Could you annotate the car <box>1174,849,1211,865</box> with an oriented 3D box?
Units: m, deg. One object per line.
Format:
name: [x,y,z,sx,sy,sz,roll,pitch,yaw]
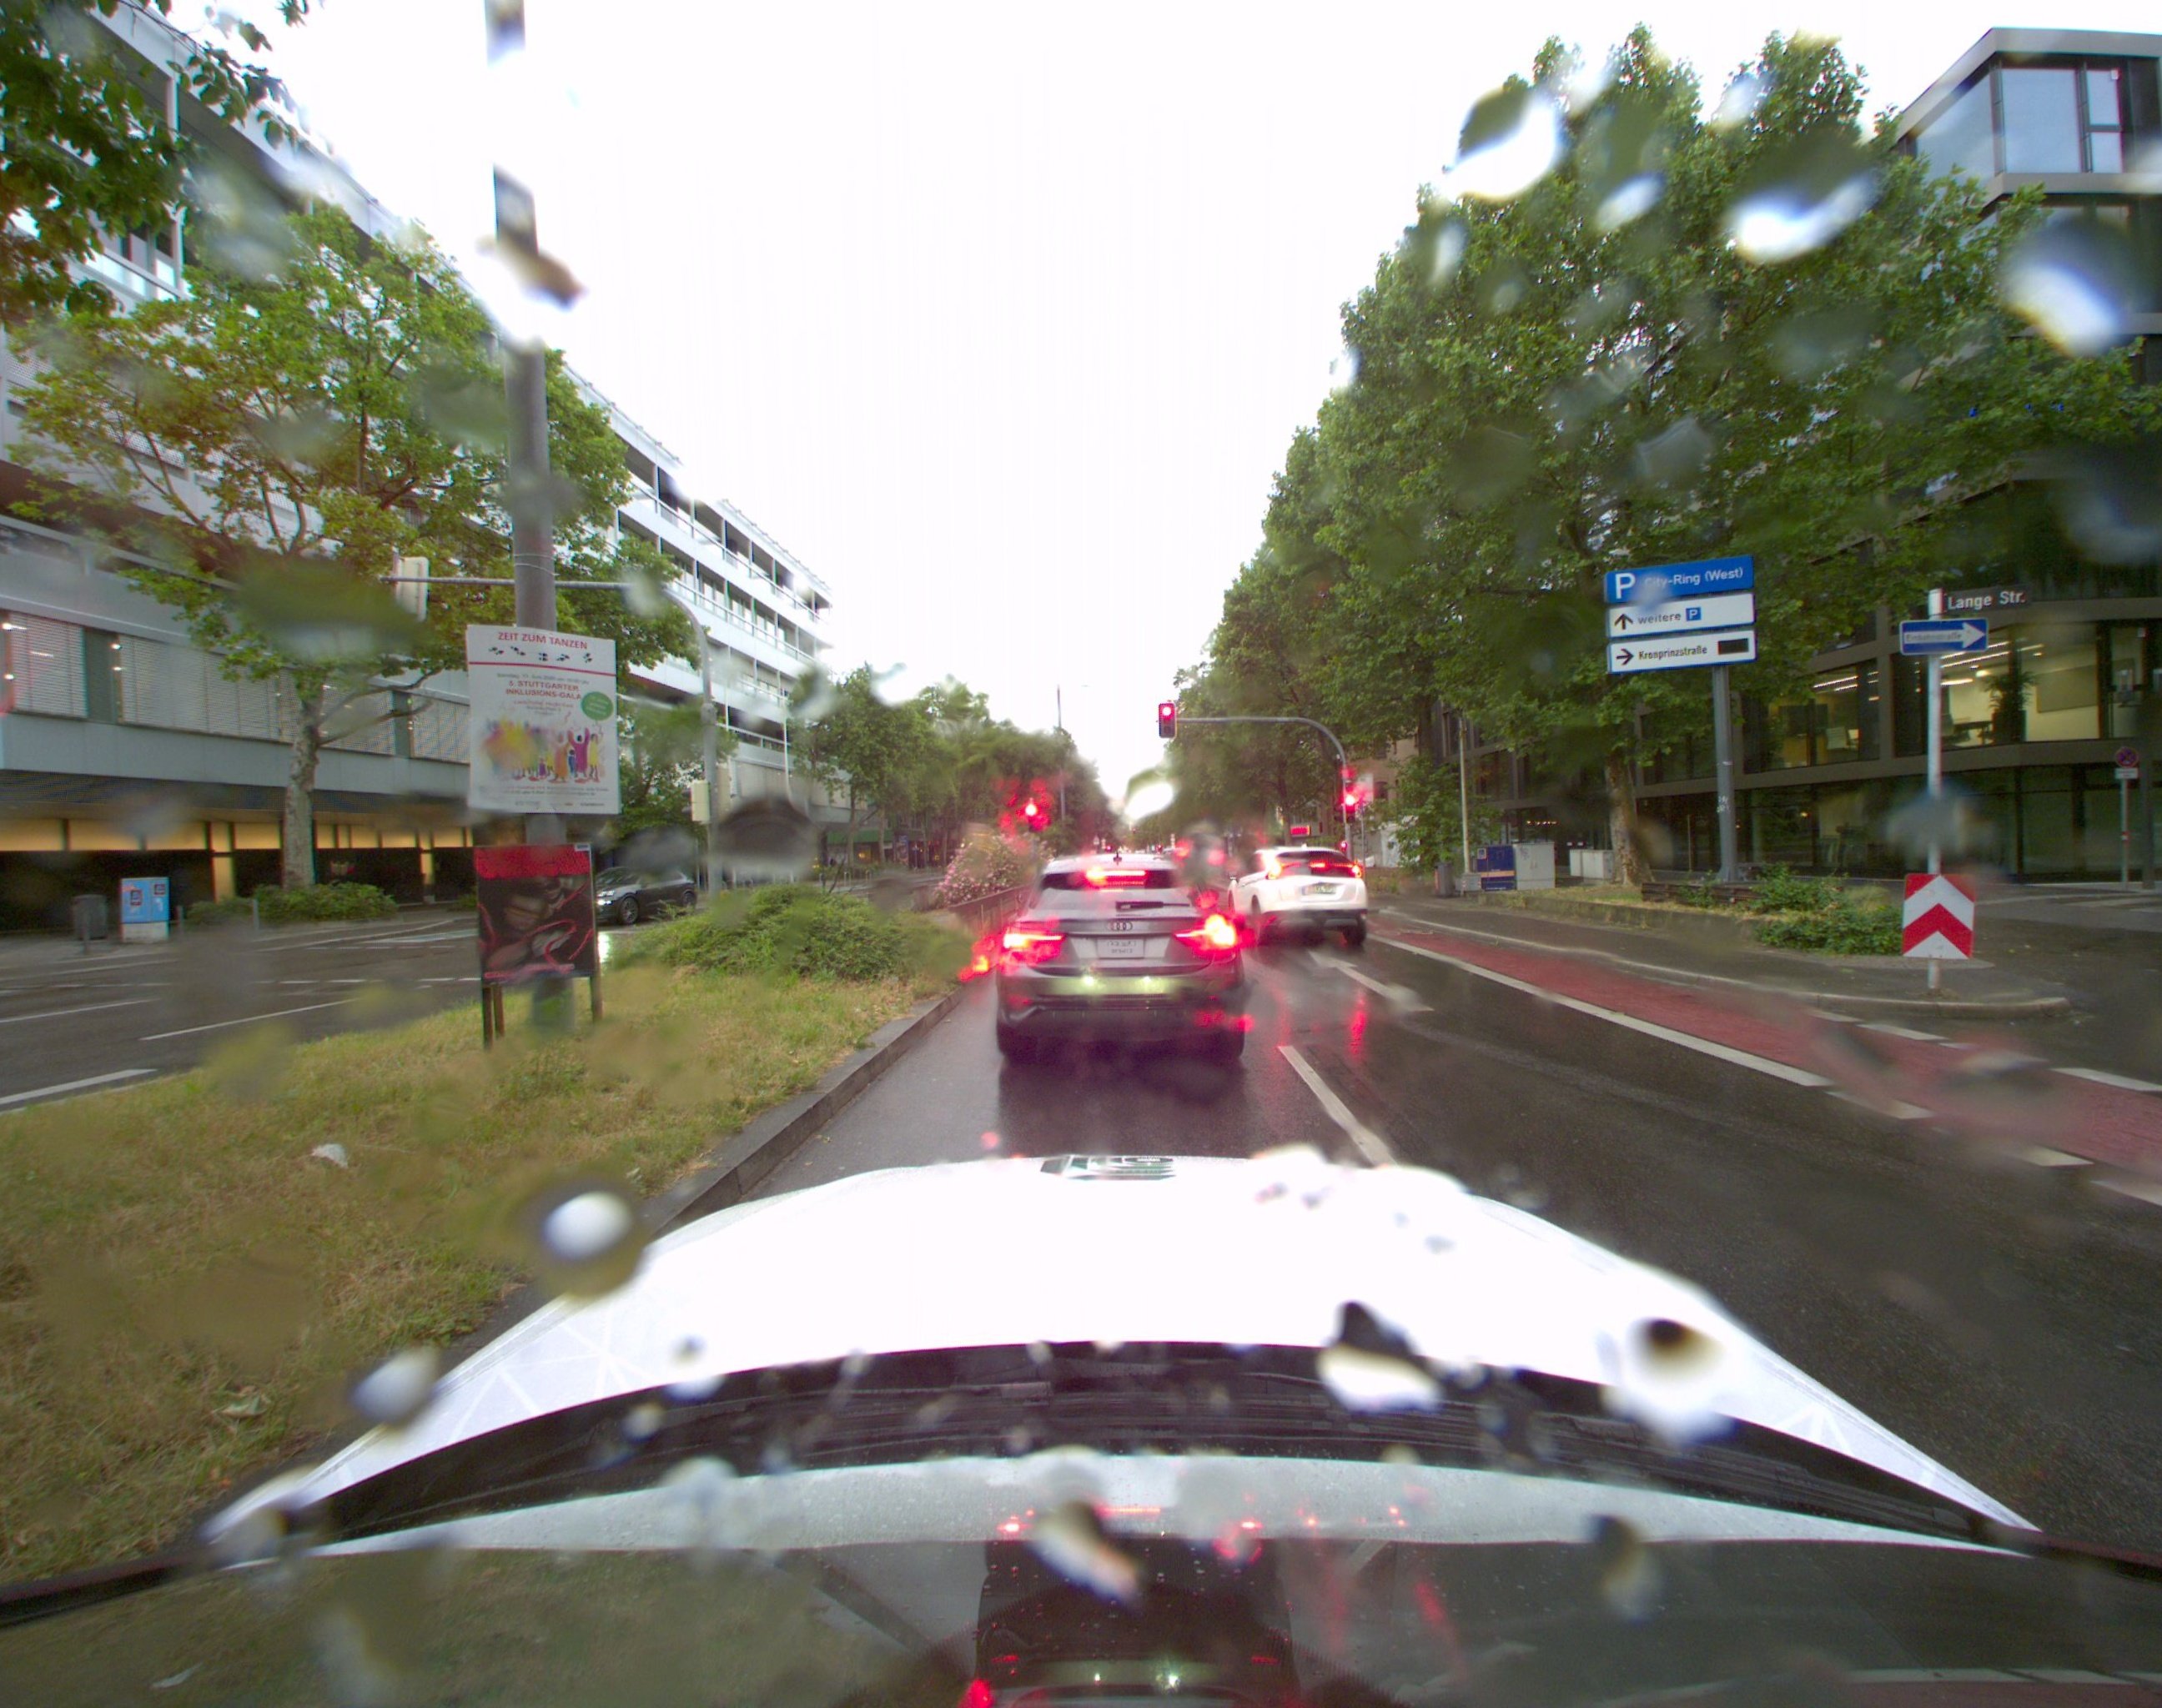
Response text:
car: [14.852,0.391,108.963,4.548,2.014,1.980,-1,-1,41]

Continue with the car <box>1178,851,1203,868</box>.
car: [10.605,0.570,79.238,1.723,1.571,4.070,0,-1,-2]

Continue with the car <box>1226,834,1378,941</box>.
car: [3.869,0.554,14.978,1.870,1.697,4.002,0,-1,3]

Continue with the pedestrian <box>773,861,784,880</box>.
pedestrian: [-21.950,1.171,59.154,0.637,1.380,0.473,0,-1,-9]

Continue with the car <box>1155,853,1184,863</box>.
car: [15.297,0.686,140.442,4.594,1.706,2.012,-1,-1,30]

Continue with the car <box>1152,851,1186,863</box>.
car: [13.291,0.492,123.032,4.594,1.706,2.012,-1,-1,30]

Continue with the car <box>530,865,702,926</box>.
car: [-13.354,1.129,23.817,1.900,1.584,4.754,0,-1,6]

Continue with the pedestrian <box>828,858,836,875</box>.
pedestrian: [-21.967,1.071,71.944,0.609,1.482,0.573,0,-1,-9]

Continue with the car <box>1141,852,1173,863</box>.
car: [11.935,0.566,128.431,4.594,1.706,2.012,-1,-1,30]

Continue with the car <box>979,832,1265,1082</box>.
car: [0.326,0.680,7.344,1.842,1.602,4.001,-1,0,2]

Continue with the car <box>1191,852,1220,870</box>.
car: [10.412,0.599,68.430,1.865,1.421,4.614,0,0,3]

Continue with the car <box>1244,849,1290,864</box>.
car: [13.337,0.188,58.320,2.856,1.074,1.465,-1,-1,33]

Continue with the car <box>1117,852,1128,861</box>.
car: [7.257,0.407,143.000,1.889,1.599,3.940,0,-1,2]

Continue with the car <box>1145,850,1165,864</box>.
car: [9.469,0.364,104.591,1.989,1.726,3.996,0,-1,-3]

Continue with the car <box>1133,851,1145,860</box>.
car: [10.569,0.249,148.125,1.985,1.651,4.003,0,-1,3]
